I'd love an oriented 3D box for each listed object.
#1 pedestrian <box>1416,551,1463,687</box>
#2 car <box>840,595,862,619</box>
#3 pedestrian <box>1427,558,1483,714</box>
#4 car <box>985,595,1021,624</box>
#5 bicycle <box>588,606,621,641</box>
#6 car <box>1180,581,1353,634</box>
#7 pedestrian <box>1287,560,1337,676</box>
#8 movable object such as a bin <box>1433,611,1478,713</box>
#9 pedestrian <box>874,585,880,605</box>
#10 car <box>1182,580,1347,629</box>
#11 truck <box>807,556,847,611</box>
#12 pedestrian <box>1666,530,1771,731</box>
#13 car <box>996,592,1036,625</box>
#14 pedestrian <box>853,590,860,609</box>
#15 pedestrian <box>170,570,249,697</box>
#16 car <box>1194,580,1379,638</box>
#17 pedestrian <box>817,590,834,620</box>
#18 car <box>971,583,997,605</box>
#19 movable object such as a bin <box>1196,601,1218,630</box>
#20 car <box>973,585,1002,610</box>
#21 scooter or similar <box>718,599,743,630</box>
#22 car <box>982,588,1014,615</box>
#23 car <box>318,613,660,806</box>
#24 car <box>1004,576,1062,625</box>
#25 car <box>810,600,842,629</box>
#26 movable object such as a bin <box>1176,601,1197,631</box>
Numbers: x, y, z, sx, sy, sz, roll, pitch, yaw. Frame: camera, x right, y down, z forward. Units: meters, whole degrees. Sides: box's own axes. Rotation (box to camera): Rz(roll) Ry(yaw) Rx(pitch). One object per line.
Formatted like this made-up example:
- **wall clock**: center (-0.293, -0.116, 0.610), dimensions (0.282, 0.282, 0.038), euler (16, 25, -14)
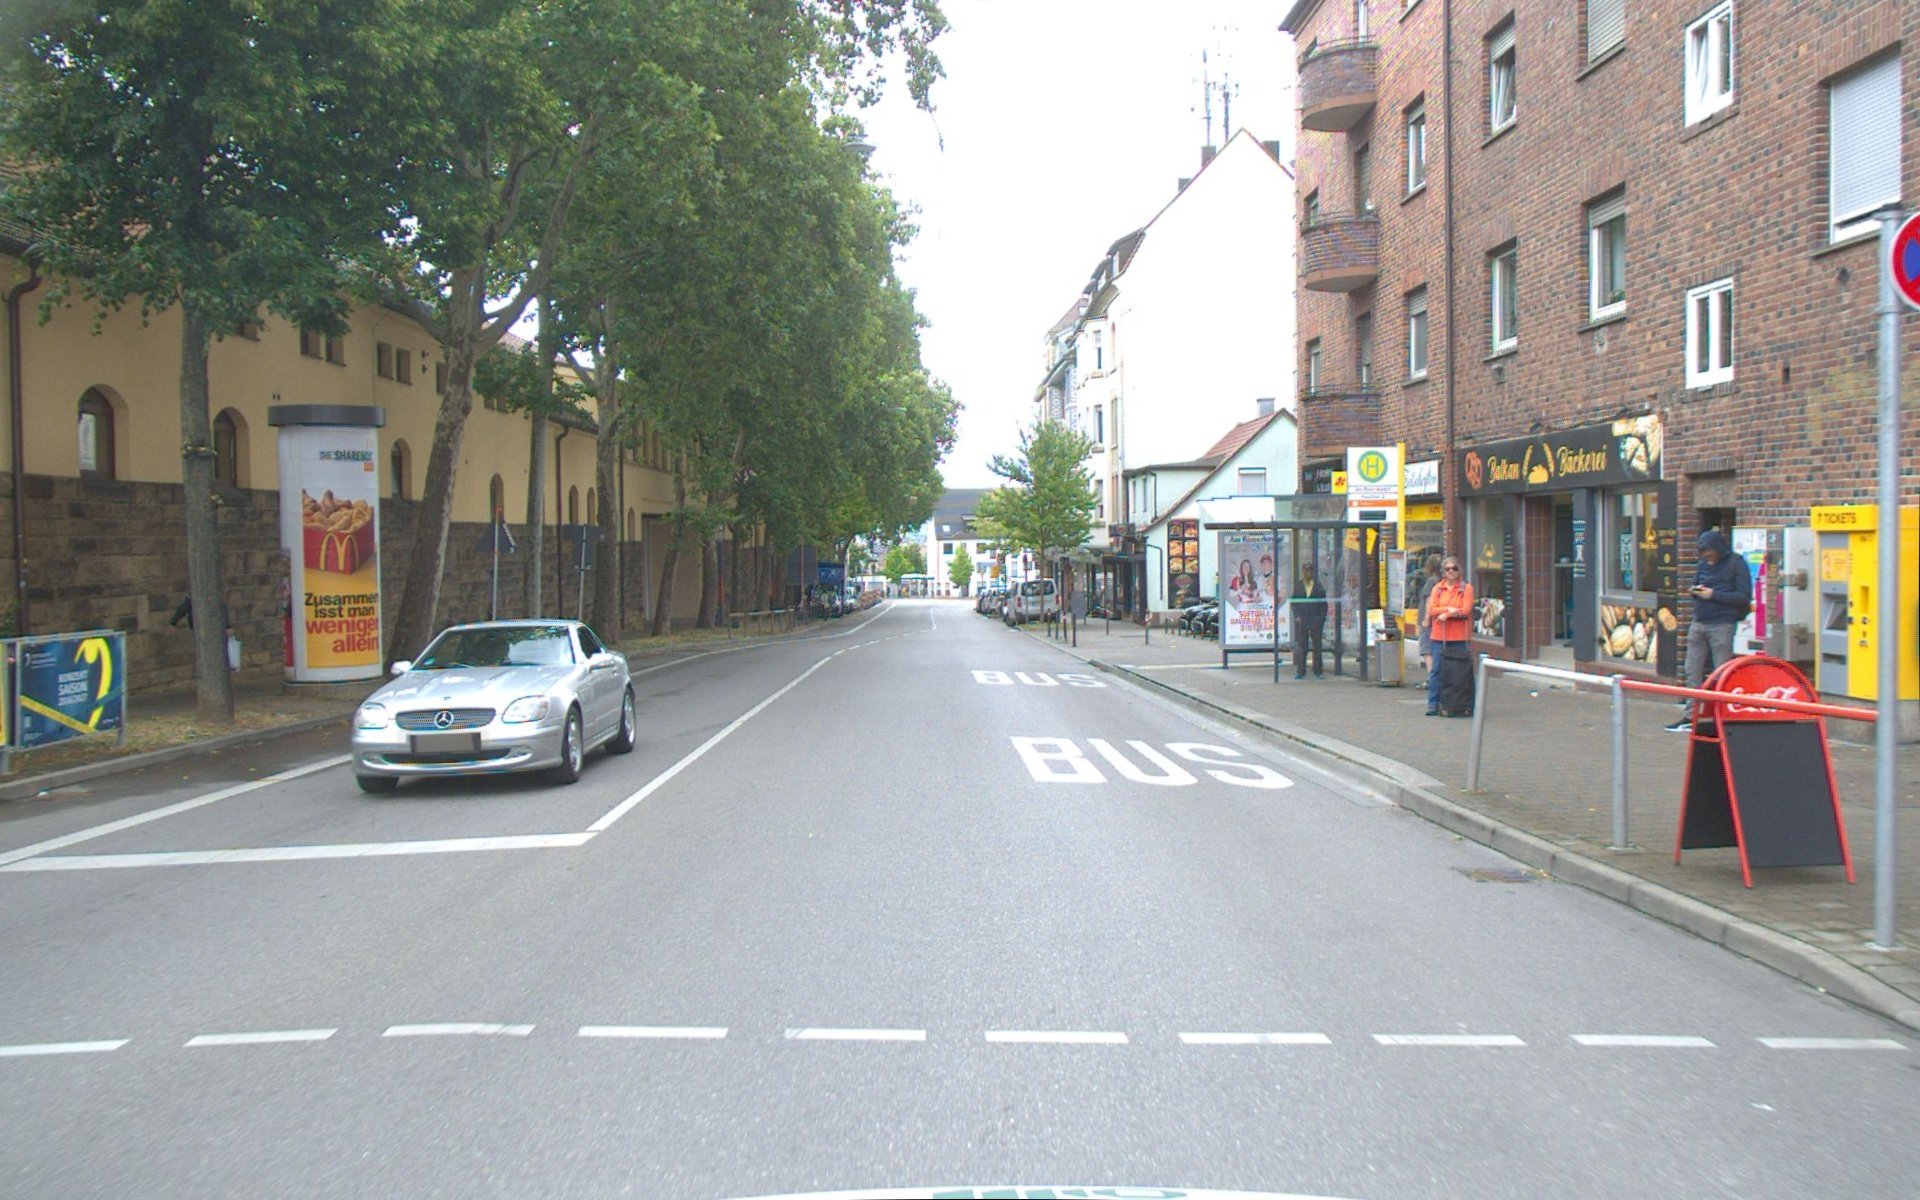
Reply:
- **pedestrian**: center (6.399, 0.246, 22.102), dimensions (0.469, 1.796, 0.458), euler (-1, 0, -2)
- **car**: center (-7.787, 0.457, 117.795), dimensions (1.503, 1.667, 3.716), euler (0, 0, -4)
- **pedestrian**: center (5.402, 0.379, 18.047), dimensions (0.553, 1.665, 0.681), euler (0, 0, 19)
- **car**: center (2.411, 0.539, 93.549), dimensions (1.636, 1.574, 3.753), euler (0, 0, -4)
- **bicycle**: center (-11.961, 0.766, 55.655), dimensions (0.584, 1.110, 2.195), euler (2, 0, 0)
- **car**: center (9.216, 0.217, 49.778), dimensions (4.804, 1.519, 1.854), euler (0, 0, 24)
- **pedestrian**: center (5.418, 0.278, 25.486), dimensions (0.656, 1.758, 0.764), euler (0, 0, 4)
- **movable object such as a bin**: center (5.313, 0.656, 17.729), dimensions (0.443, 1.075, 0.410), euler (0, 0, 19)
- **pedestrian**: center (-8.520, -0.489, 169.603), dimensions (0.620, 2.049, 0.784), euler (0, 0, 0)
- **car**: center (9.603, 0.144, 52.220), dimensions (4.805, 1.495, 1.928), euler (0, 0, 26)
- **truck**: center (-8.463, -1.069, 106.160), dimensions (2.186, 3.405, 7.447), euler (0, 0, -2)
- **pedestrian**: center (6.916, 0.272, 15.111), dimensions (0.634, 1.780, 0.778), euler (0, 0, 4)
- **car**: center (2.807, 0.415, 83.703), dimensions (1.636, 1.574, 3.753), euler (0, 0, -4)
- **pedestrian**: center (-10.987, -0.017, 175.948), dimensions (0.620, 2.029, 0.784), euler (0, 0, 0)
- **pedestrian**: center (-10.984, 0.475, 24.229), dimensions (0.761, 1.826, 0.874), euler (0, 0, -1)
- **car**: center (9.276, 0.249, 47.075), dimensions (4.808, 1.567, 1.998), euler (0, 0, 28)
- **pedestrian**: center (-7.034, 0.253, 86.526), dimensions (0.668, 1.563, 0.602), euler (-1, 0, -39)
- **car**: center (1.791, -0.444, 123.938), dimensions (1.636, 1.574, 3.753), euler (0, 0, -4)
- **movable object such as a bin**: center (8.994, 0.561, 60.255), dimensions (0.684, 1.059, 0.645), euler (0, 0, 0)
- **car**: center (1.811, -0.178, 111.201), dimensions (1.636, 1.574, 3.753), euler (0, 0, -4)
- **scooter or similar**: center (-9.292, 0.585, 66.971), dimensions (1.010, 1.205, 0.490), euler (0, 0, -11)
- **car**: center (2.288, 0.070, 100.155), dimensions (1.636, 1.574, 3.753), euler (0, 0, -4)
- **car**: center (-3.811, 0.817, 14.127), dimensions (1.651, 1.298, 4.095), euler (-3, 0, 1)
- **car**: center (3.059, 0.006, 70.317), dimensions (1.954, 1.969, 4.915), euler (0, 0, -4)
- **car**: center (-7.818, 0.814, 96.838), dimensions (1.798, 1.605, 3.753), euler (0, 0, -4)
- **movable object such as a bin**: center (8.245, 0.569, 60.173), dimensions (0.684, 1.059, 0.645), euler (0, 0, 0)
